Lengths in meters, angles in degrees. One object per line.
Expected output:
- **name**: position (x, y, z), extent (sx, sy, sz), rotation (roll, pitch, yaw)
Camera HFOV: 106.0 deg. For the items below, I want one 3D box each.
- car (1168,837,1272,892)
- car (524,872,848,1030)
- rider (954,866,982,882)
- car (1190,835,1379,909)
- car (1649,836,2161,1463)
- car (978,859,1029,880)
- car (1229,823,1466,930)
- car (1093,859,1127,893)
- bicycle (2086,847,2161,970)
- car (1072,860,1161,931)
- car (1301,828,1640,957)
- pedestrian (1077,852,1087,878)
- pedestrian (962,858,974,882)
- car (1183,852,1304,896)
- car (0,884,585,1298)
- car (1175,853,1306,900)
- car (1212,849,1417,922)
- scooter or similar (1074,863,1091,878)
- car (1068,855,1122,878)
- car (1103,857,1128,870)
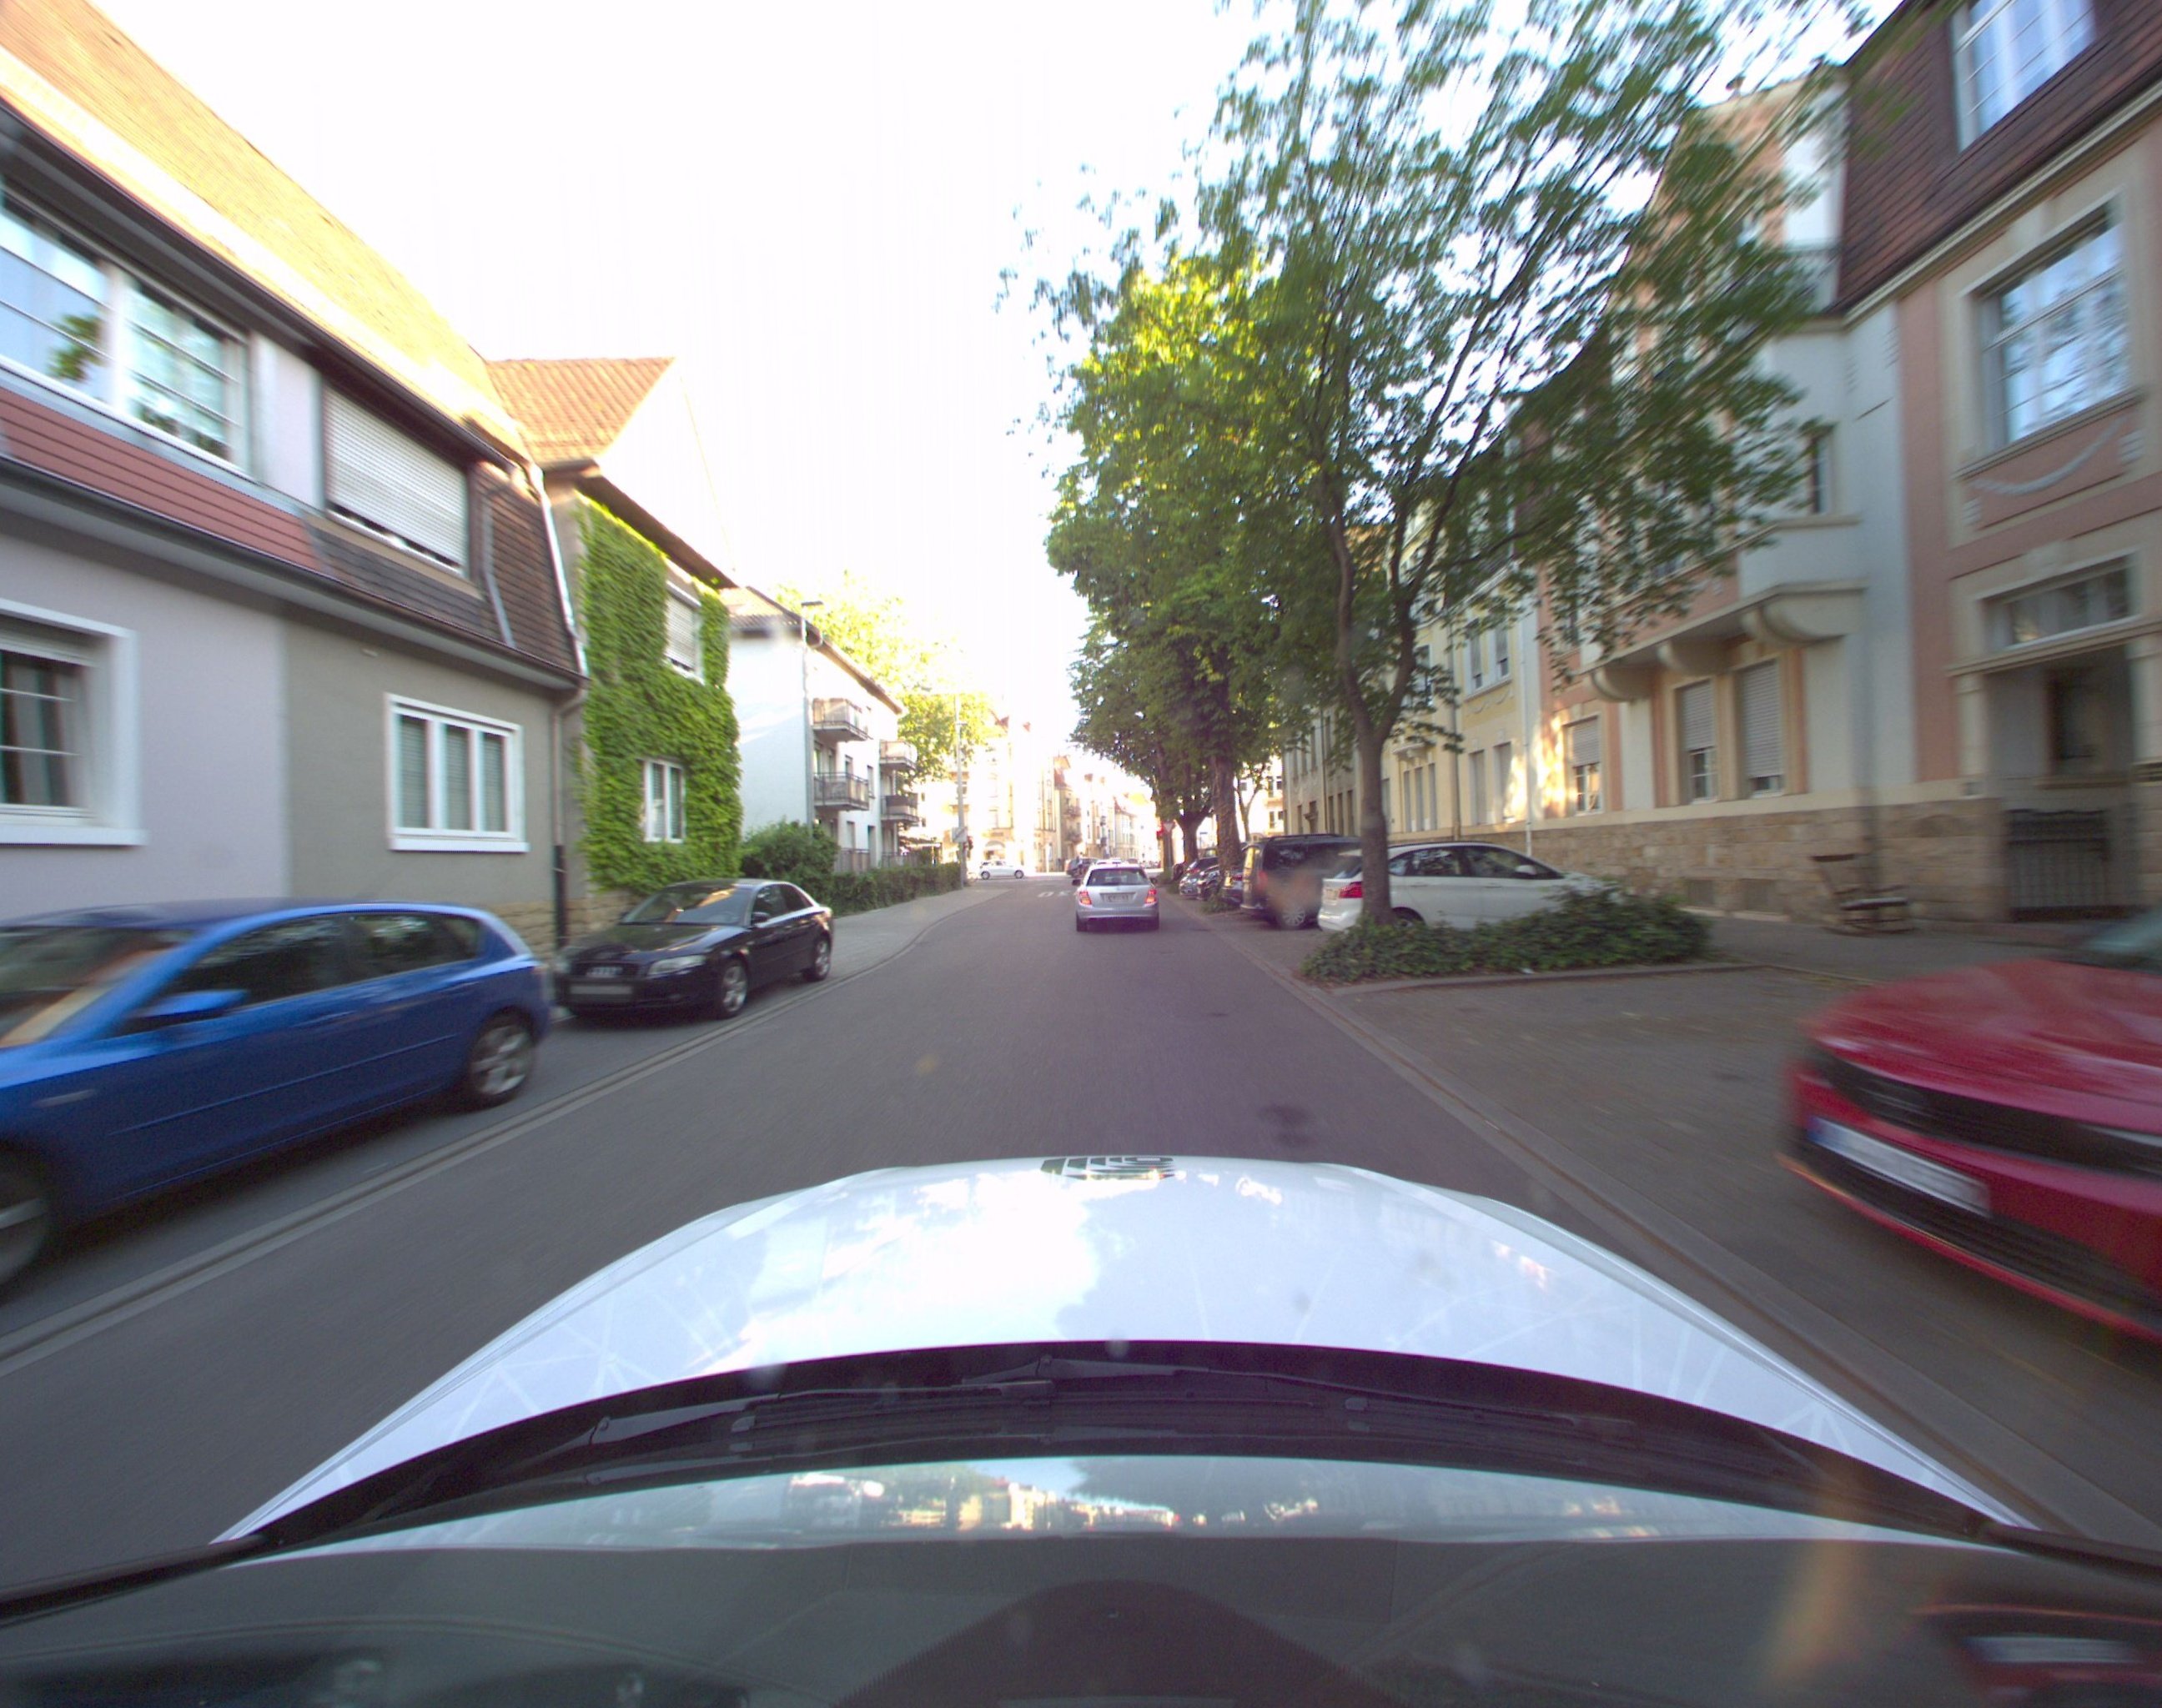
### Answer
- **car**: position (6.227, 0.457, 36.875), extent (4.375, 2.364, 2.000), rotation (-1, 0, -1)
- **car**: position (-4.432, 0.975, 10.015), extent (1.688, 1.447, 4.360), rotation (0, 0, 2)
- **rider**: position (-7.956, 1.422, 57.259), extent (1.872, 1.038, 0.510), rotation (-1, -1, -7)
- **car**: position (5.894, 0.501, 24.029), extent (5.037, 1.989, 2.071), rotation (-1, 0, -1)
- **car**: position (4.781, 0.618, 2.679), extent (4.391, 1.419, 1.879), rotation (-3, -1, 4)
- **car**: position (-6.031, 1.220, 63.164), extent (3.883, 1.515, 1.704), rotation (-1, 0, -6)
- **car**: position (5.357, 0.451, 16.778), extent (4.206, 1.896, 1.905), rotation (-3, -1, 0)
- **car**: position (1.476, 1.049, 40.472), extent (1.617, 1.570, 3.683), rotation (-1, 0, 3)
- **bicycle**: position (9.663, 0.470, 6.602), extent (0.472, 1.056, 2.046), rotation (-3, -1, 1)
- **car**: position (0.816, 0.872, 18.298), extent (1.776, 1.437, 3.853), rotation (0, -1, 3)
- **car**: position (5.571, 0.542, 12.091), extent (4.095, 1.571, 1.878), rotation (-3, -1, 2)
- **pedestrian**: position (0.049, 0.789, 58.341), extent (0.641, 1.866, 0.410), rotation (-3, -1, -2)
- **pedestrian**: position (-7.949, 1.127, 57.268), extent (0.768, 1.645, 0.504), rotation (-1, -1, -6)
- **car**: position (6.178, 0.753, 31.334), extent (4.274, 1.541, 1.898), rotation (-1, 0, -1)
- **car**: position (-4.829, 0.952, 4.306), extent (1.647, 1.447, 4.240), rotation (0, 0, 2)
- **car**: position (5.593, 0.778, 28.964), extent (4.274, 1.417, 1.876), rotation (-2, 0, -1)
- **car**: position (5.384, 0.709, 19.186), extent (4.274, 1.541, 1.876), rotation (-1, 0, -1)
- **scooter or similar**: position (0.086, 1.191, 58.339), extent (1.172, 1.052, 0.409), rotation (-3, -1, -2)
- **car**: position (1.015, 0.913, 61.111), extent (3.880, 1.642, 1.752), rotation (-1, 0, -4)
- **car**: position (4.292, 1.183, 100.617), extent (1.977, 1.585, 4.019), rotation (-1, 0, 18)
